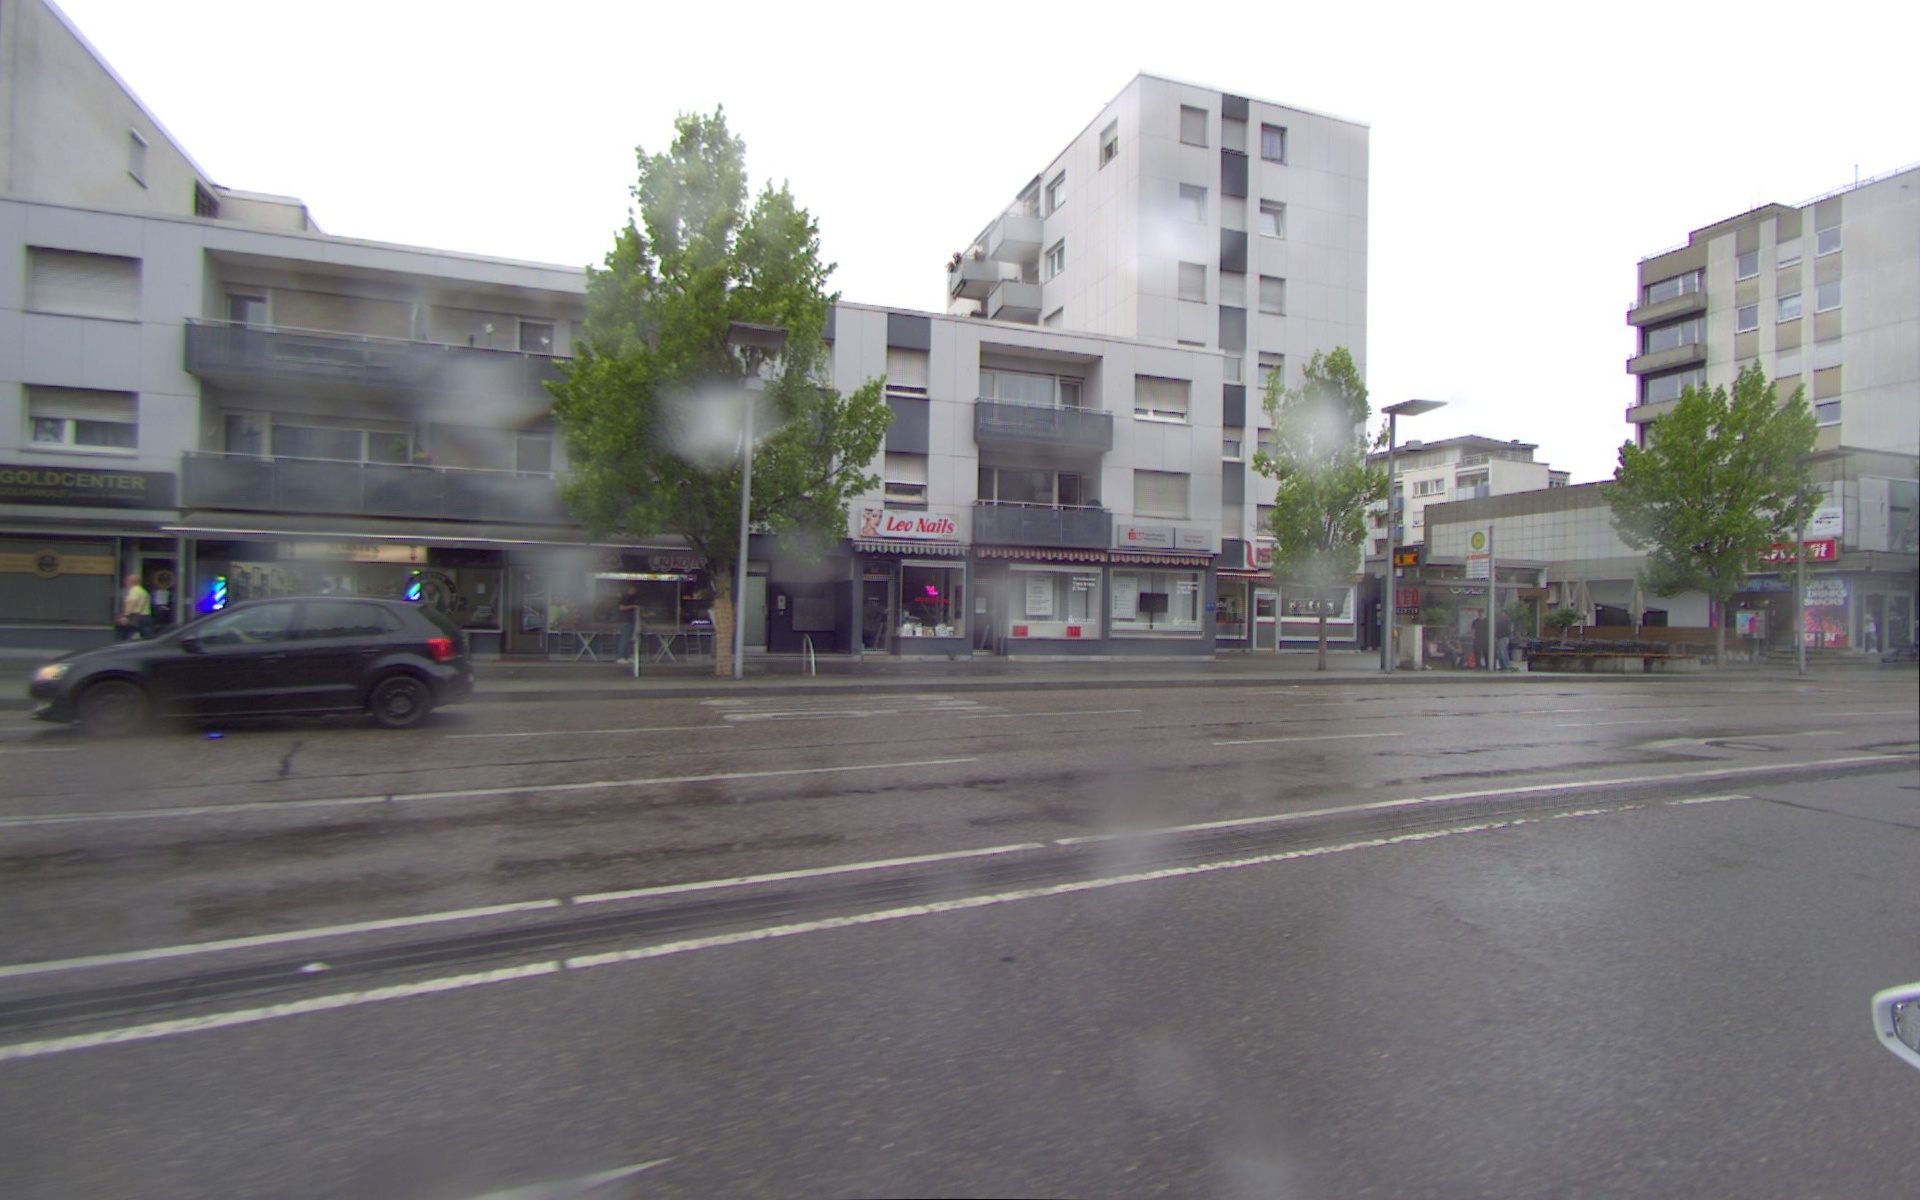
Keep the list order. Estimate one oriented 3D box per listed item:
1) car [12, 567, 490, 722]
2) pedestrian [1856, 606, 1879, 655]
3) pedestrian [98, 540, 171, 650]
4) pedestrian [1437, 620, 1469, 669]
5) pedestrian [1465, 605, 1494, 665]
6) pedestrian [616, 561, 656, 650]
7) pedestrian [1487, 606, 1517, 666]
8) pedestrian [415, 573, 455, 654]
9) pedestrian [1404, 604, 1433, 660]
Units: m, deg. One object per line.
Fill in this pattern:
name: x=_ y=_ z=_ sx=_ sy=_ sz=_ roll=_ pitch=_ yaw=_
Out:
car: x=-7.364 y=0.441 z=10.964 sx=3.943 sy=1.446 sz=1.753 roll=1 pitch=0 yaw=-23
pedestrian: x=35.538 y=1.185 z=39.321 sx=0.492 sy=1.873 sz=0.426 roll=2 pitch=0 yaw=-10
pedestrian: x=-15.789 y=-0.086 z=19.228 sx=0.851 sy=2.040 sz=0.757 roll=1 pitch=0 yaw=-22
pedestrian: x=14.004 y=1.257 z=28.552 sx=0.569 sy=1.370 sz=0.535 roll=2 pitch=0 yaw=-14
pedestrian: x=14.873 y=0.995 z=28.752 sx=0.471 sy=1.681 sz=0.535 roll=2 pitch=0 yaw=-14
pedestrian: x=-7.647 y=0.133 z=23.757 sx=0.850 sy=2.040 sz=0.758 roll=1 pitch=0 yaw=-17
pedestrian: x=15.264 y=1.011 z=28.292 sx=0.528 sy=1.681 sz=0.477 roll=2 pitch=0 yaw=-19
pedestrian: x=-11.708 y=0.305 z=22.414 sx=0.670 sy=1.773 sz=0.547 roll=1 pitch=0 yaw=-18
pedestrian: x=12.900 y=0.899 z=28.250 sx=0.611 sy=1.525 sz=0.530 roll=2 pitch=0 yaw=-43
